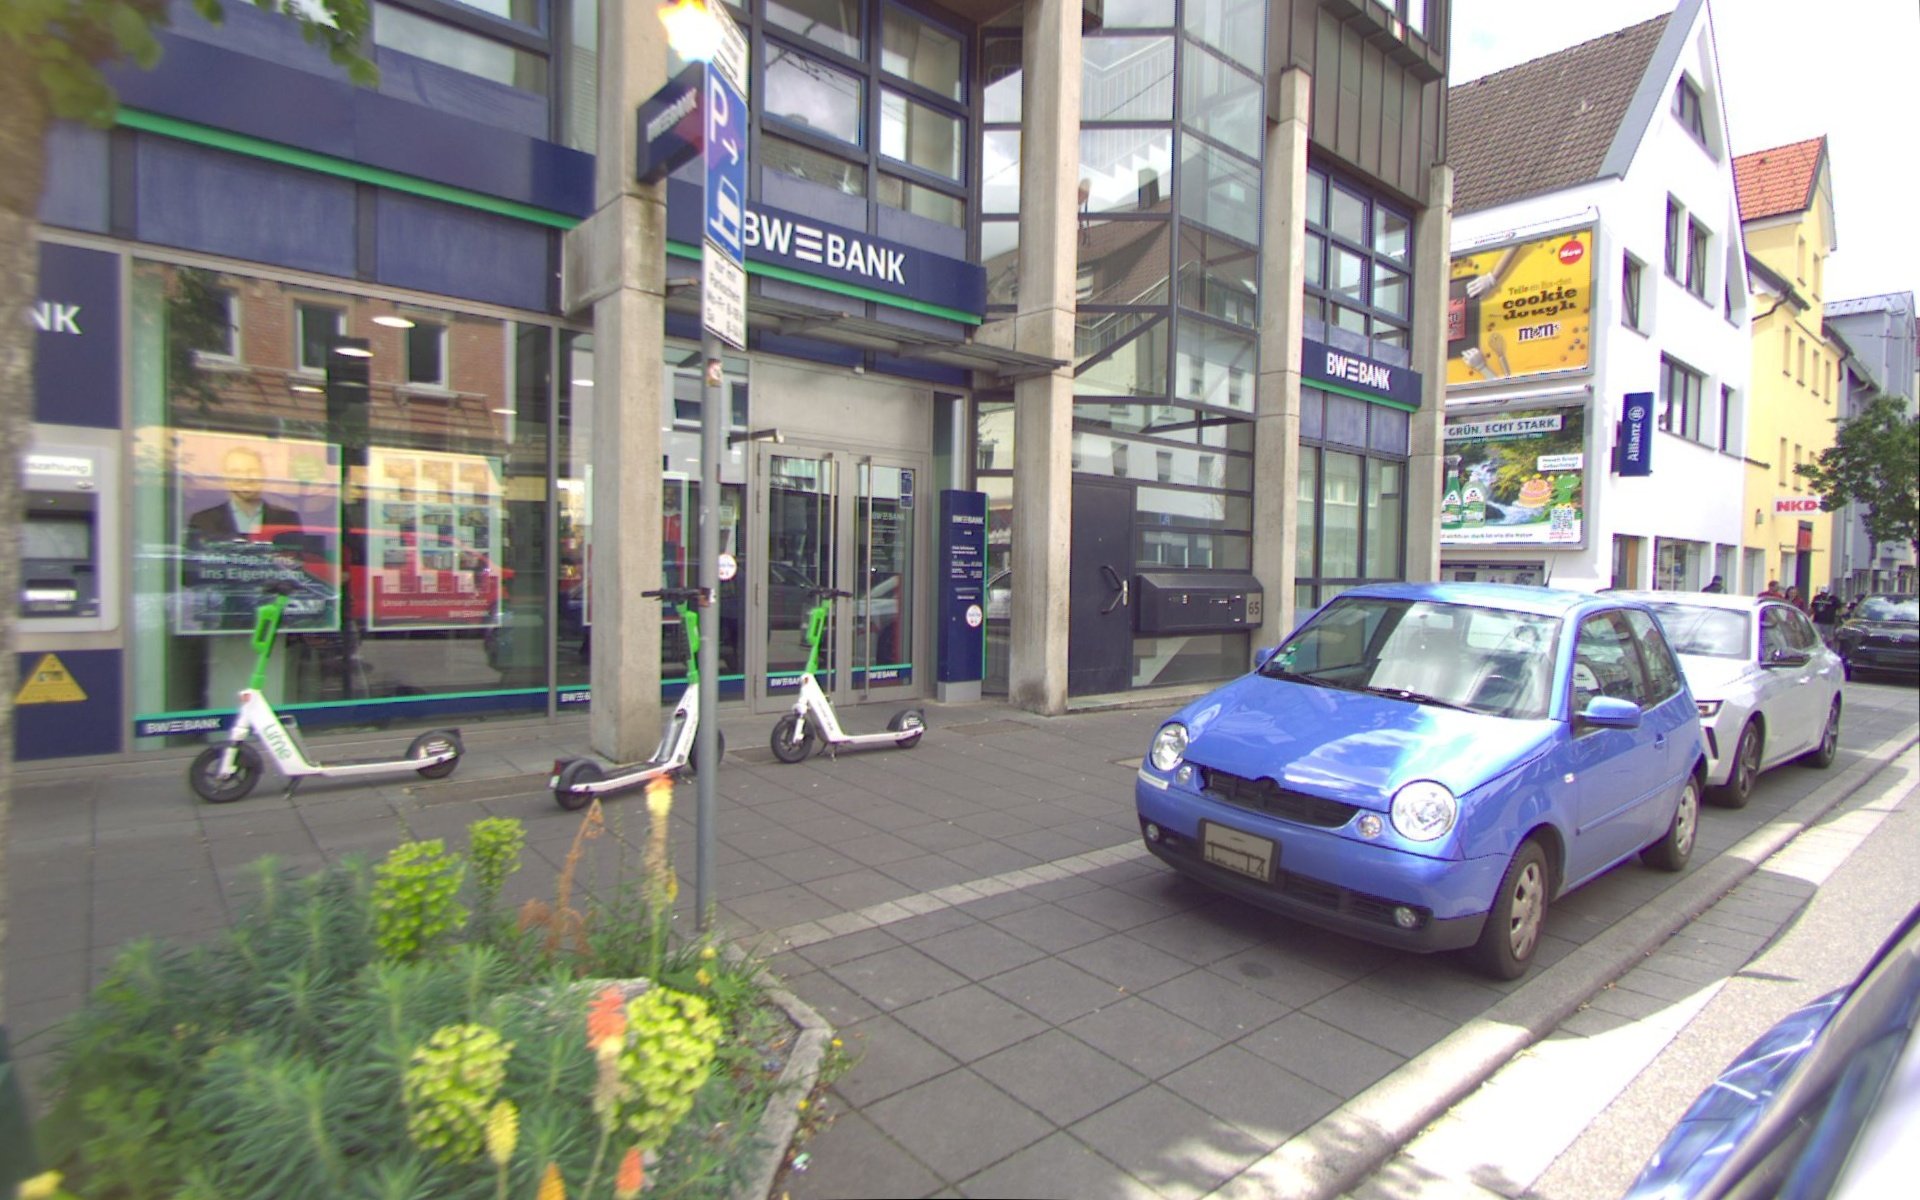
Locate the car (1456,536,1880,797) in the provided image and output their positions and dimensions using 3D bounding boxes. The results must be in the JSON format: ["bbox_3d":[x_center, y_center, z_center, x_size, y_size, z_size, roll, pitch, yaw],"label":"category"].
[{"bbox_3d":[5.943,0.489,8.290,4.349,1.597,1.724,2,-4,-40],"label":"car"}]

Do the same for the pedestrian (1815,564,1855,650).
[{"bbox_3d":[19.439,0.145,22.491,0.566,1.863,0.589,-1,1,-40],"label":"pedestrian"}]

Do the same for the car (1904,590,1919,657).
[{"bbox_3d":[23.793,0.519,23.915,4.278,1.494,1.724,-1,1,-41],"label":"car"}]

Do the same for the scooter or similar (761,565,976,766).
[{"bbox_3d":[-0.598,0.398,7.020,1.534,1.261,0.422,-1,1,-42],"label":"scooter or similar"}]

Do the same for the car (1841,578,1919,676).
[{"bbox_3d":[17.059,0.412,17.923,4.039,1.596,1.723,-1,1,-42],"label":"car"}]

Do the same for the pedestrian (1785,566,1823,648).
[{"bbox_3d":[19.547,0.152,23.442,0.566,1.863,0.589,-1,1,-40],"label":"pedestrian"}]

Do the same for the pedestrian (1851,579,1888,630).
[{"bbox_3d":[29.037,0.126,32.301,0.713,1.572,0.751,-1,3,-41],"label":"pedestrian"}]

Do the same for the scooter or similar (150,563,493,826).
[{"bbox_3d":[-3.425,0.439,5.527,1.534,1.261,0.422,-1,1,-42],"label":"scooter or similar"}]

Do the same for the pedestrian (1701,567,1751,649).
[{"bbox_3d":[16.979,0.163,22.444,0.744,1.759,0.742,-1,1,-40],"label":"pedestrian"}]

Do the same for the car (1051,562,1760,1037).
[{"bbox_3d":[2.502,0.594,5.183,4.036,1.512,1.725,-1,1,-40],"label":"car"}]

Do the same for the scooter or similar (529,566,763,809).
[{"bbox_3d":[-1.787,0.443,5.909,0.404,1.261,1.306,0,1,38],"label":"scooter or similar"}]

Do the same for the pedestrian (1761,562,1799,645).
[{"bbox_3d":[18.840,0.077,23.254,0.566,1.863,0.589,-1,1,-40],"label":"pedestrian"}]
